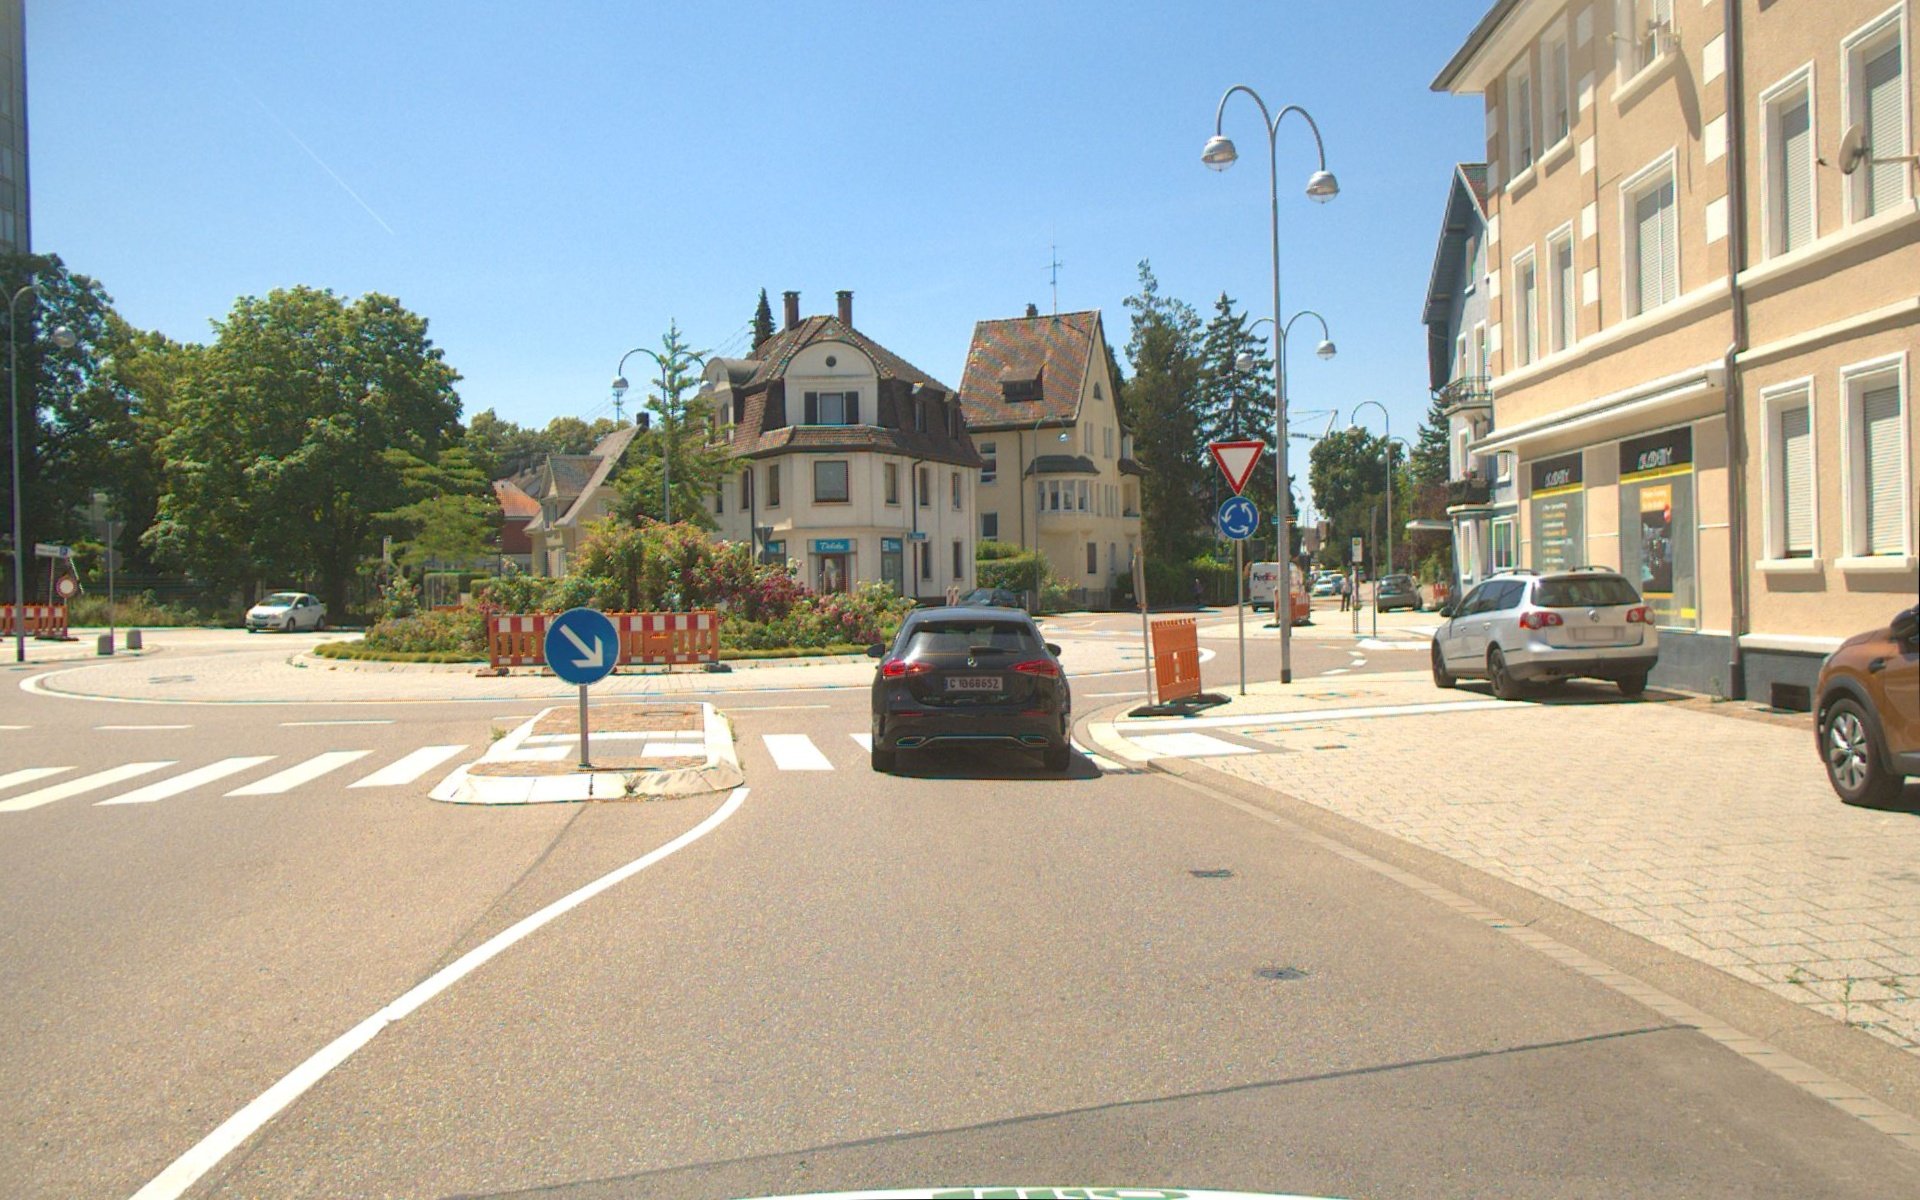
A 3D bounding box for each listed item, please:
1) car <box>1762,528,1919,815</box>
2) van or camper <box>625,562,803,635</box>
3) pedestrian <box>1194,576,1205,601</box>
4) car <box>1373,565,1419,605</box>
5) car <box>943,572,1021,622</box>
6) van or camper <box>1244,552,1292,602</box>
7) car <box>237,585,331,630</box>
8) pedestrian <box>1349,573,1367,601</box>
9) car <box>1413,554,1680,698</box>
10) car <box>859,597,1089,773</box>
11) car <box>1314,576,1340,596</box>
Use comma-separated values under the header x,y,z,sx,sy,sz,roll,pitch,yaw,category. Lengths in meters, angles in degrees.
x,y,z,sx,sy,sz,roll,pitch,yaw,category
6.289,0.364,9.074,1.638,1.648,4.364,-4,0,1,car
-7.752,-0.077,52.429,5.358,2.209,1.973,-1,0,-38,van or camper
14.564,-0.692,100.578,0.512,1.535,0.473,-1,0,24,pedestrian
18.380,-0.647,69.619,1.605,1.533,3.566,-4,0,18,car
0.875,-0.123,62.932,1.880,1.803,4.002,1,0,18,car
16.723,-1.248,89.668,2.159,2.656,4.003,-1,0,16,van or camper
-26.464,0.308,64.876,1.747,1.625,3.922,-1,-2,6,car
19.358,-0.628,80.444,0.653,1.308,0.587,-5,-1,26,pedestrian
7.286,0.292,21.079,1.728,1.556,4.690,-2,0,1,car
0.071,0.719,15.799,1.914,1.452,3.999,0,0,-1,car
31.739,-1.208,143.021,1.951,1.680,4.003,-1,0,17,car
